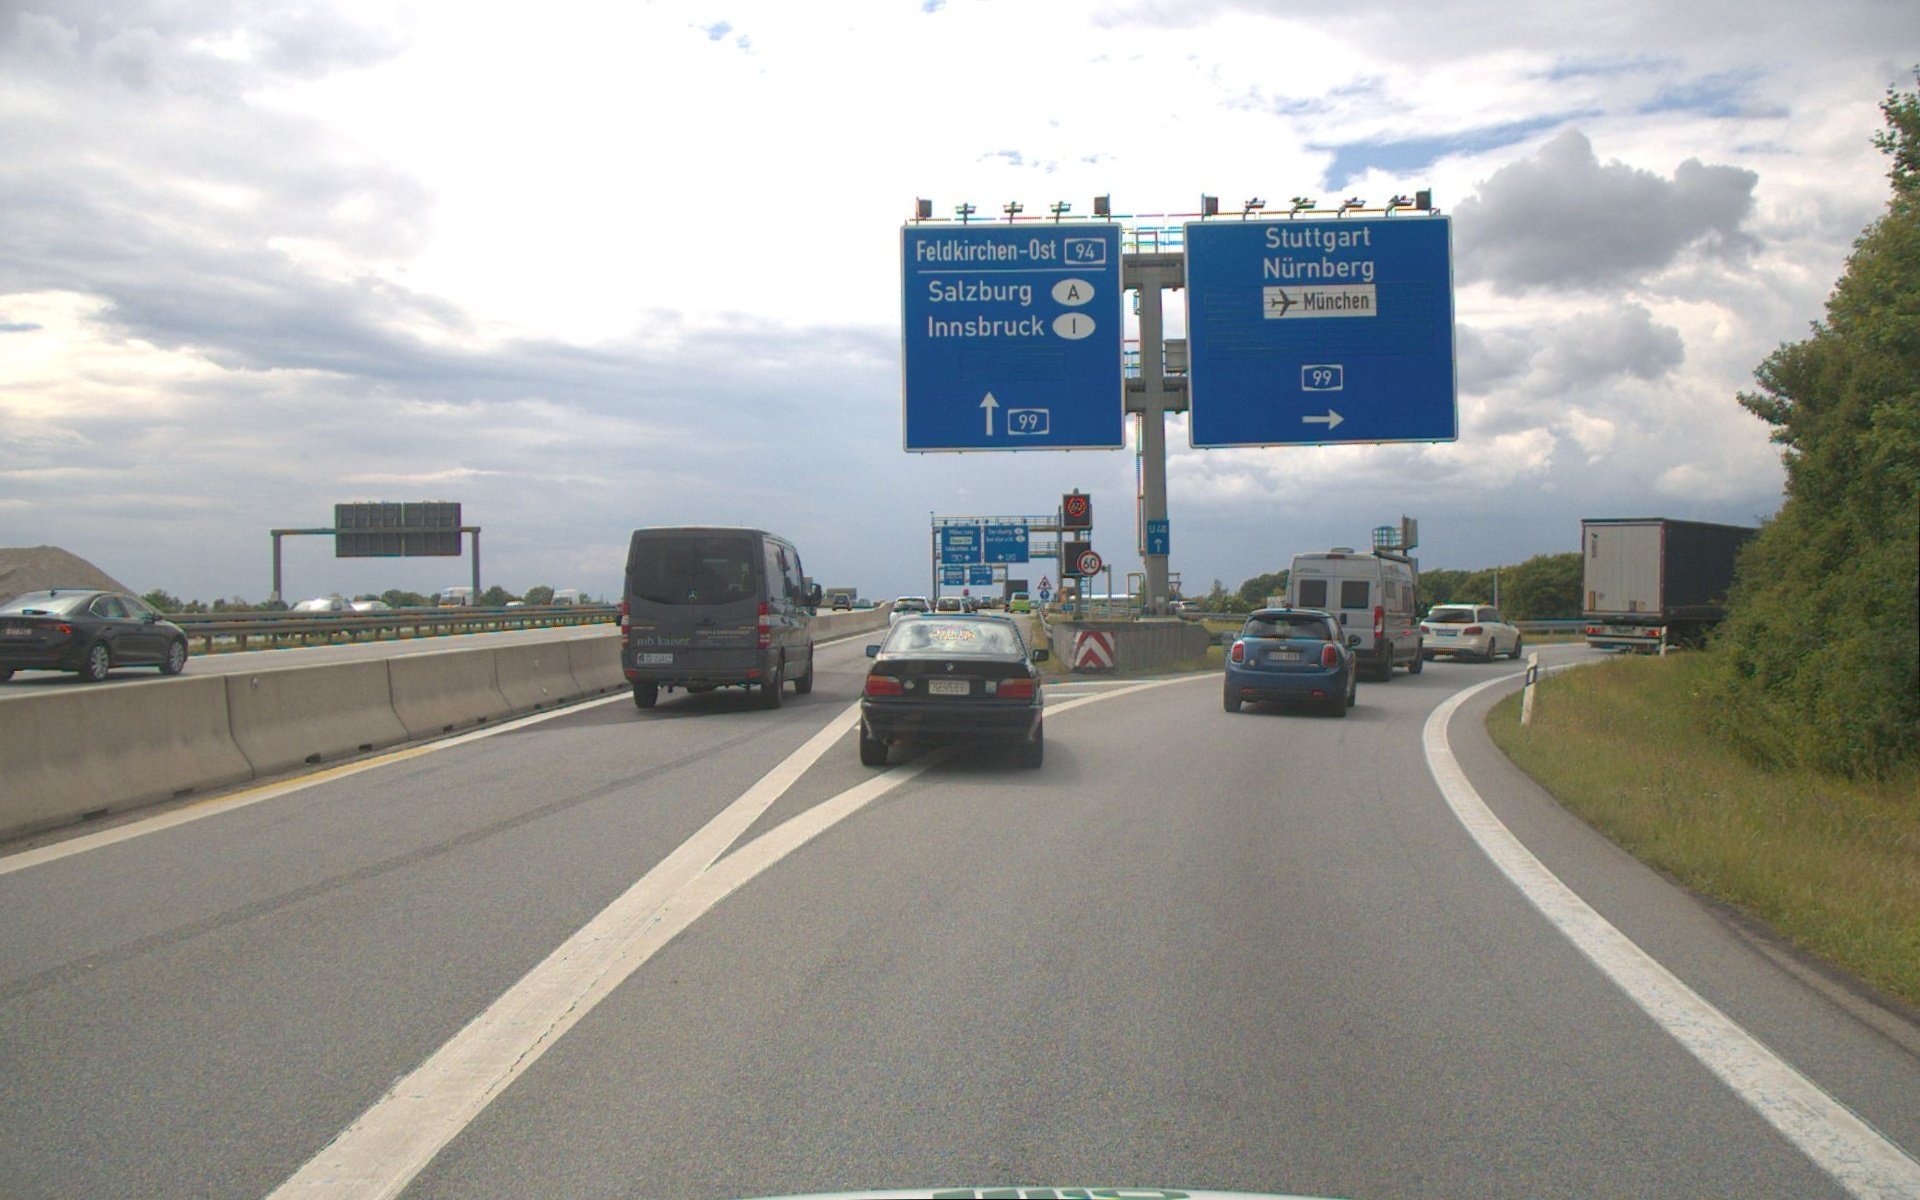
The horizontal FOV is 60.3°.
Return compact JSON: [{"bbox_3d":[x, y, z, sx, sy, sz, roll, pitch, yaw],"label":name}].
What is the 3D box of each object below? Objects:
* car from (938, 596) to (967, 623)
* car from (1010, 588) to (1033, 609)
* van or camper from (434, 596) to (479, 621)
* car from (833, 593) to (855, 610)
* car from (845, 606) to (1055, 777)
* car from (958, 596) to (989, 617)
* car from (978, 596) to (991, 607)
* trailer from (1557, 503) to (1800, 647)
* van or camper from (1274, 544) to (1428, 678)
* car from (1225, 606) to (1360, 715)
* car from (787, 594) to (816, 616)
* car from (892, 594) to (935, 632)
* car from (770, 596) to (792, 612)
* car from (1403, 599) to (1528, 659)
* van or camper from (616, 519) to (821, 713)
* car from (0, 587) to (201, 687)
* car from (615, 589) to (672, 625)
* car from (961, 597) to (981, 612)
[{"bbox_3d":[-0.385,0.509,93.082,1.552,1.510,3.535,0,0,1],"label":"car"},{"bbox_3d":[5.967,-0.177,160.558,1.953,2.049,3.999,0,0,-1],"label":"car"},{"bbox_3d":[-42.744,0.710,140.545,2.190,2.049,6.274,0,0,-3],"label":"van or camper"},{"bbox_3d":[-12.325,0.147,176.082,1.952,1.713,4.866,0,0,1],"label":"car"},{"bbox_3d":[-0.040,0.770,15.866,1.745,1.402,4.137,0,0,1],"label":"car"},{"bbox_3d":[0.986,0.452,118.139,1.951,1.494,4.002,0,0,4],"label":"car"},{"bbox_3d":[3.449,0.197,233.269,1.765,1.449,4.001,0,0,2],"label":"car"},{"bbox_3d":[24.120,-0.726,54.895,3.283,4.266,12.947,0,0,43],"label":"trailer"},{"bbox_3d":[8.479,0.205,35.395,2.247,2.613,6.159,0,0,22],"label":"van or camper"},{"bbox_3d":[4.913,0.824,24.127,1.692,1.444,3.668,1,0,15],"label":"car"},{"bbox_3d":[-11.526,0.368,120.504,1.737,1.557,4.000,0,0,0],"label":"car"},{"bbox_3d":[-1.878,0.523,67.906,1.666,1.534,3.840,0,0,0],"label":"car"},{"bbox_3d":[-15.973,0.374,147.547,1.521,1.400,4.000,0,0,0],"label":"car"},{"bbox_3d":[13.680,0.744,44.582,2.165,1.527,4.777,0,0,31],"label":"car"},{"bbox_3d":[-3.256,0.190,23.590,1.958,2.412,6.126,0,0,1],"label":"van or camper"},{"bbox_3d":[-14.857,0.569,27.921,2.017,1.554,4.567,0,0,-1],"label":"car"},{"bbox_3d":[-15.137,0.335,79.225,1.862,1.669,4.644,0,0,0],"label":"car"},{"bbox_3d":[1.053,0.418,156.773,1.827,1.449,4.001,0,0,1],"label":"car"}]
